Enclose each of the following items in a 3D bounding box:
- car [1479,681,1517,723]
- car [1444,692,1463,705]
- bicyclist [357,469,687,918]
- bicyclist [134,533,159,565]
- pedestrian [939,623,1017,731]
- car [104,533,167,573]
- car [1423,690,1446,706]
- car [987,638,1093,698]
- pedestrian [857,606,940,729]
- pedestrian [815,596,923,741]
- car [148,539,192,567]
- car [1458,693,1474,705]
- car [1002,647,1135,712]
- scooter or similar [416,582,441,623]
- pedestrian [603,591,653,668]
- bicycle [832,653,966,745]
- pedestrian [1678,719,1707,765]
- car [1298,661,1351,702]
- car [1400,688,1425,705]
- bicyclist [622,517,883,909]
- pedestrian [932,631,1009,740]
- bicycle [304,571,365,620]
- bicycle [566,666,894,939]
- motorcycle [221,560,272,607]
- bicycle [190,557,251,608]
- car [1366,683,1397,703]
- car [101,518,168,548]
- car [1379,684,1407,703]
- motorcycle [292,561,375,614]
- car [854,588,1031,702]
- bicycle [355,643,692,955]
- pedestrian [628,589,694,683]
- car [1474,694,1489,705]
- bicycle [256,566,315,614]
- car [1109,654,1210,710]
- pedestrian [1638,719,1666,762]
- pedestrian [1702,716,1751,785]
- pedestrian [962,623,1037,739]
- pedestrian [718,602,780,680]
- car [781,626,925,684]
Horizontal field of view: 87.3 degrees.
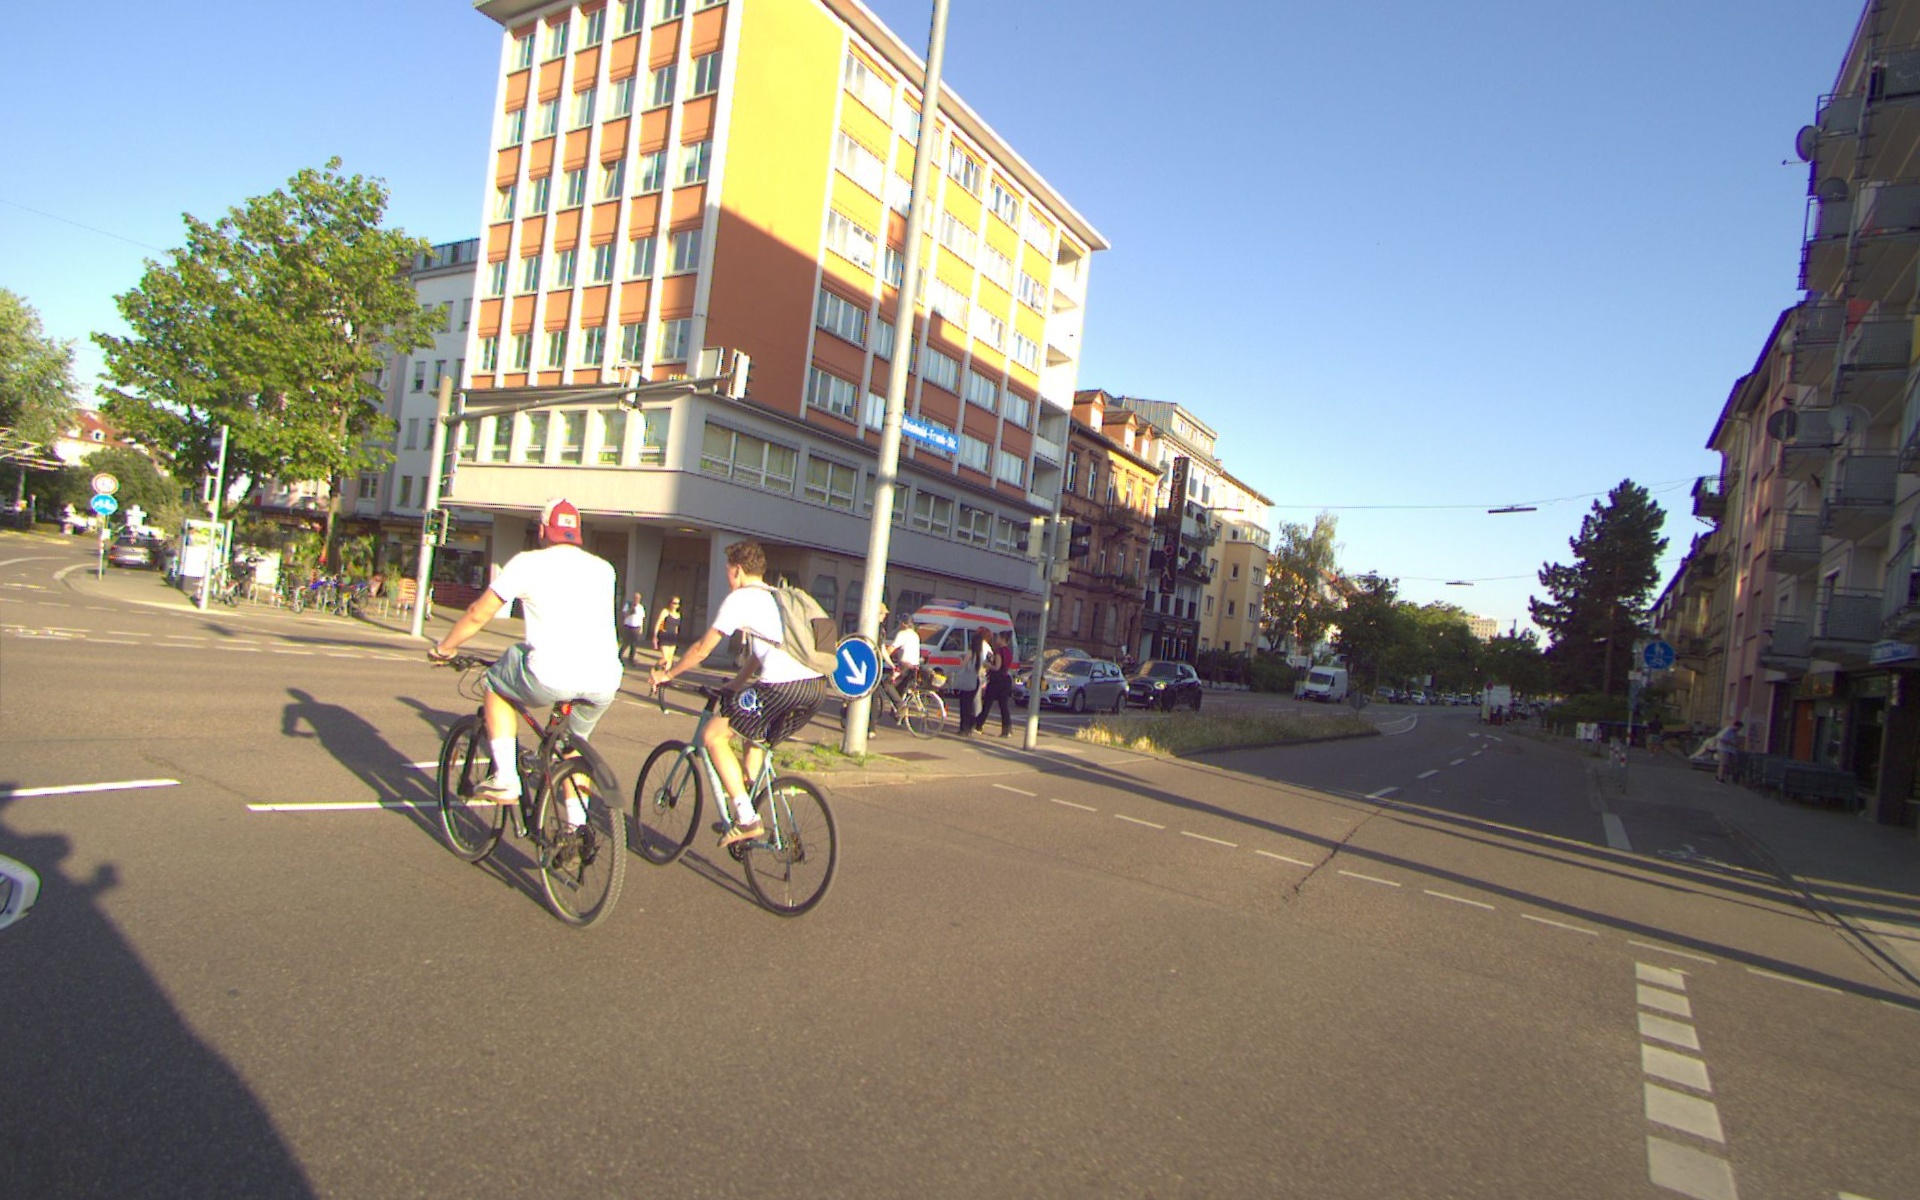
[{"bbox_3d":[39.904,7.575,74.607,2.055,2.753,4.542,7,-1,30],"label":"car"},{"bbox_3d":[67.448,13.484,137.510,1.897,1.592,3.994,6,-2,32],"label":"car"},{"bbox_3d":[-2.052,0.380,4.726,1.041,1.829,0.827,6,-1,36],"label":"bicyclist"},{"bbox_3d":[-45.249,-2.815,55.963,0.772,1.636,1.016,9,-2,-34],"label":"bicyclist"},{"bbox_3d":[0.304,1.295,17.010,0.891,1.682,0.728,7,-1,34],"label":"pedestrian"},{"bbox_3d":[-36.289,-2.072,44.361,1.716,1.490,3.864,5,0,-34],"label":"car"},{"bbox_3d":[56.353,11.624,119.474,1.897,1.592,3.994,6,-2,32],"label":"car"},{"bbox_3d":[2.630,2.211,32.178,1.570,1.589,4.079,7,-2,31],"label":"car"},{"bbox_3d":[-0.852,0.941,13.961,0.749,1.608,0.676,4,-2,34],"label":"pedestrian"},{"bbox_3d":[-1.186,0.879,13.085,1.055,1.725,0.662,6,-1,37],"label":"pedestrian"},{"bbox_3d":[-50.947,-3.046,64.922,1.769,1.576,4.198,5,0,-33],"label":"car"},{"bbox_3d":[79.333,15.516,157.718,1.897,1.592,3.994,6,-2,32],"label":"car"},{"bbox_3d":[2.908,2.101,26.175,1.777,1.392,3.993,5,-2,32],"label":"car"},{"bbox_3d":[-17.760,0.089,33.591,0.413,1.269,1.171,7,-1,-38],"label":"scooter or similar"},{"bbox_3d":[-7.834,0.695,23.754,0.799,1.722,0.569,7,0,34],"label":"pedestrian"},{"bbox_3d":[-0.859,1.351,13.882,1.820,0.992,0.521,6,-1,35],"label":"bicycle"},{"bbox_3d":[27.250,5.276,37.430,0.699,1.595,0.726,6,-1,32],"label":"pedestrian"},{"bbox_3d":[26.351,5.932,72.480,2.090,2.553,6.420,6,-2,32],"label":"car"},{"bbox_3d":[50.261,10.676,111.619,1.897,1.592,3.994,6,-2,32],"label":"car"},{"bbox_3d":[-1.097,0.542,5.309,0.979,1.829,0.674,6,-1,36],"label":"bicyclist"},{"bbox_3d":[0.160,1.279,15.055,0.735,1.518,0.682,7,-1,34],"label":"pedestrian"},{"bbox_3d":[-18.434,-0.145,29.631,2.090,1.172,0.645,7,0,34],"label":"bicycle"},{"bbox_3d":[-1.284,0.991,5.390,1.828,1.040,0.575,6,-1,37],"label":"bicycle"},{"bbox_3d":[-22.799,-0.537,32.114,2.169,1.257,0.666,6,-1,39],"label":"motorcycle"},{"bbox_3d":[-19.960,-0.474,27.134,1.844,1.140,0.645,7,0,34],"label":"bicycle"},{"bbox_3d":[39.566,8.739,94.430,1.897,1.592,3.993,6,-2,32],"label":"car"},{"bbox_3d":[-96.744,-7.812,117.928,2.118,2.624,5.524,6,-2,30],"label":"car"},{"bbox_3d":[42.969,9.318,99.705,1.897,1.592,3.994,6,-2,32],"label":"car"},{"bbox_3d":[-20.230,-0.392,32.519,0.750,1.423,2.043,6,-2,40],"label":"motorcycle"},{"bbox_3d":[-0.320,1.279,26.674,1.894,2.511,5.258,6,-2,32],"label":"car"},{"bbox_3d":[-2.142,0.838,4.786,1.951,1.040,0.478,6,-1,37],"label":"bicycle"},{"bbox_3d":[-5.493,0.670,18.483,0.735,1.608,0.681,7,-1,37],"label":"pedestrian"},{"bbox_3d":[91.213,17.405,175.929,1.897,1.766,3.994,6,-2,32],"label":"car"},{"bbox_3d":[-19.139,-0.287,28.528,1.844,1.140,0.645,7,0,34],"label":"bicycle"},{"bbox_3d":[6.552,2.704,32.724,1.759,1.481,3.992,6,-2,33],"label":"car"},{"bbox_3d":[27.671,5.602,40.224,0.699,1.595,0.727,6,-1,30],"label":"pedestrian"},{"bbox_3d":[21.730,4.262,28.518,0.698,1.797,0.728,7,0,12],"label":"pedestrian"},{"bbox_3d":[0.610,1.261,15.648,0.735,1.682,0.682,7,0,34],"label":"pedestrian"},{"bbox_3d":[-5.040,0.976,23.981,1.011,1.722,0.784,7,-1,34],"label":"pedestrian"},{"bbox_3d":[-3.262,1.771,31.537,1.810,1.356,4.667,6,-2,34],"label":"car"}]
